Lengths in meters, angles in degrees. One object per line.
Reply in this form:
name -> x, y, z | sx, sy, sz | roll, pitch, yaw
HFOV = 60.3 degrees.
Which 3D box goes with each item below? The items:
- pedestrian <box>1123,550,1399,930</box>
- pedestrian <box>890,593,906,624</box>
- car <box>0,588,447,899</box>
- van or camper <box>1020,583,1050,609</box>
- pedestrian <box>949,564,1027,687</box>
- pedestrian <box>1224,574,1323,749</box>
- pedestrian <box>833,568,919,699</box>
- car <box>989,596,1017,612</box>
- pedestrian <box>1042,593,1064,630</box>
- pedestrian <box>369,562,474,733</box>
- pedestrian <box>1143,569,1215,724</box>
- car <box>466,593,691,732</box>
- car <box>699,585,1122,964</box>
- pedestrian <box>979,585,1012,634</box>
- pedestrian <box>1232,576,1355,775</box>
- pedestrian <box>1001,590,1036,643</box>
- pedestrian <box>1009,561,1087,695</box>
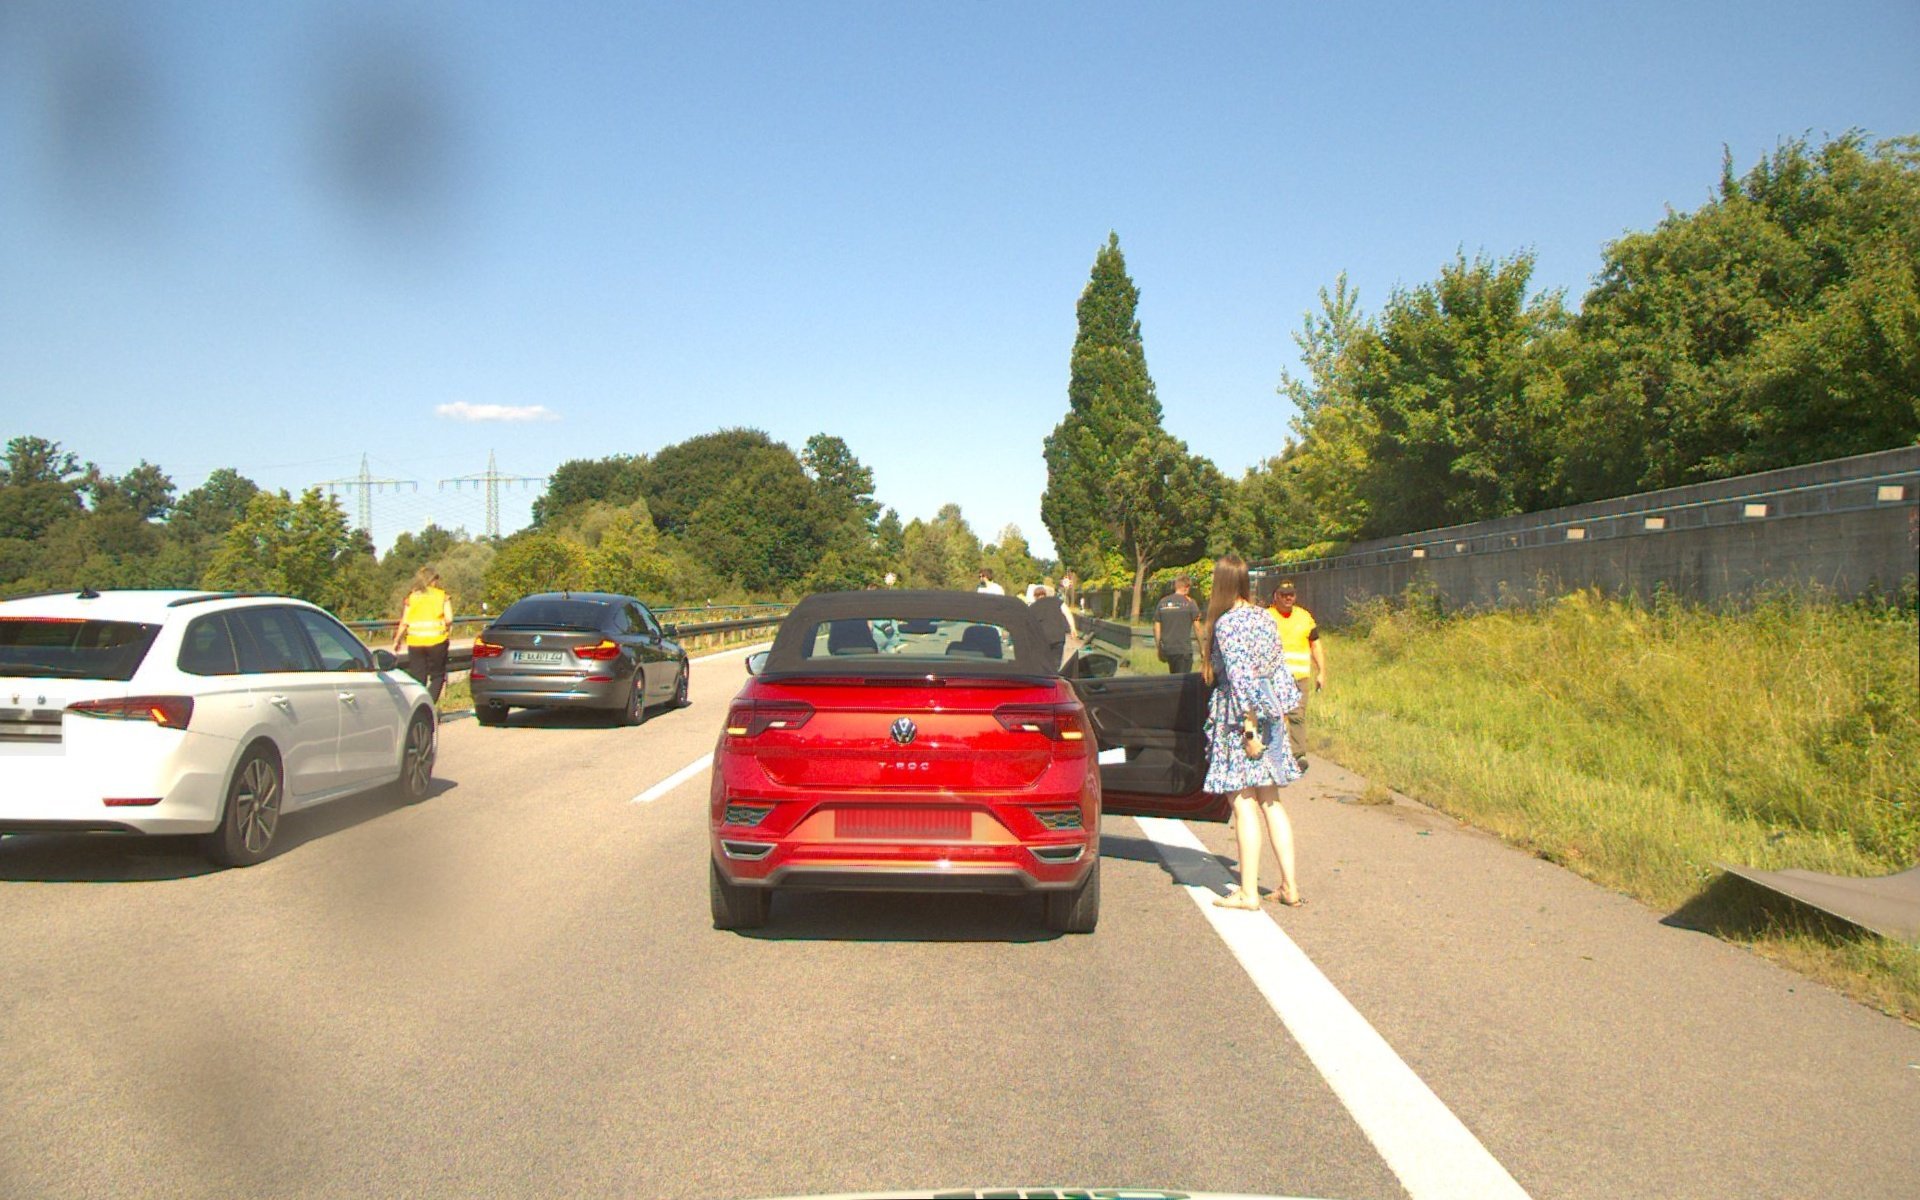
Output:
pedestrian -> 1.464, 0.629, 8.200 | 0.878, 1.725, 1.121 | -1, 0, -23
pedestrian -> -3.383, 0.460, 90.727 | 0.775, 1.719, 0.793 | 1, -1, 5
car -> -4.576, 0.676, 9.984 | 1.660, 1.467, 4.210 | 1, 0, -1
van or camper -> 7.311, -0.375, 161.018 | 1.951, 2.356, 4.473 | 1, 0, 15
pedestrian -> 0.451, 0.405, 27.134 | 1.085, 1.946, 1.255 | -1, 0, -8
pedestrian -> 3.237, 0.625, 17.157 | 0.876, 1.755, 0.754 | 1, -1, 1
pedestrian -> -1.192, 0.477, 23.863 | 1.081, 1.820, 1.092 | 1, -1, 4
car -> 4.229, 0.398, 162.086 | 1.696, 1.513, 4.213 | 1, 0, 16
pedestrian -> 4.324, 0.528, 76.684 | 0.975, 1.719, 1.011 | 1, -1, 3
pedestrian -> -5.906, 0.500, 18.115 | 1.026, 1.794, 1.111 | -1, 0, -21
pedestrian -> 2.629, 0.542, 19.769 | 0.794, 1.790, 0.829 | 1, -1, 9
car -> -4.416, 0.656, 19.779 | 1.660, 1.451, 4.334 | 1, 0, 0
car -> -0.196, 0.702, 8.823 | 1.697, 1.513, 4.210 | 1, 0, 0
pedestrian -> 1.272, 0.352, 59.389 | 1.092, 1.719, 0.972 | 1, -1, -4
pedestrian -> 2.947, 0.643, 14.737 | 0.937, 1.682, 1.279 | -1, 0, 6
pedestrian -> 1.951, 0.542, 55.068 | 1.033, 1.719, 1.018 | 1, -1, 7
pedestrian -> 1.285, 0.399, 24.390 | 1.067, 1.916, 1.068 | -1, 0, -1
